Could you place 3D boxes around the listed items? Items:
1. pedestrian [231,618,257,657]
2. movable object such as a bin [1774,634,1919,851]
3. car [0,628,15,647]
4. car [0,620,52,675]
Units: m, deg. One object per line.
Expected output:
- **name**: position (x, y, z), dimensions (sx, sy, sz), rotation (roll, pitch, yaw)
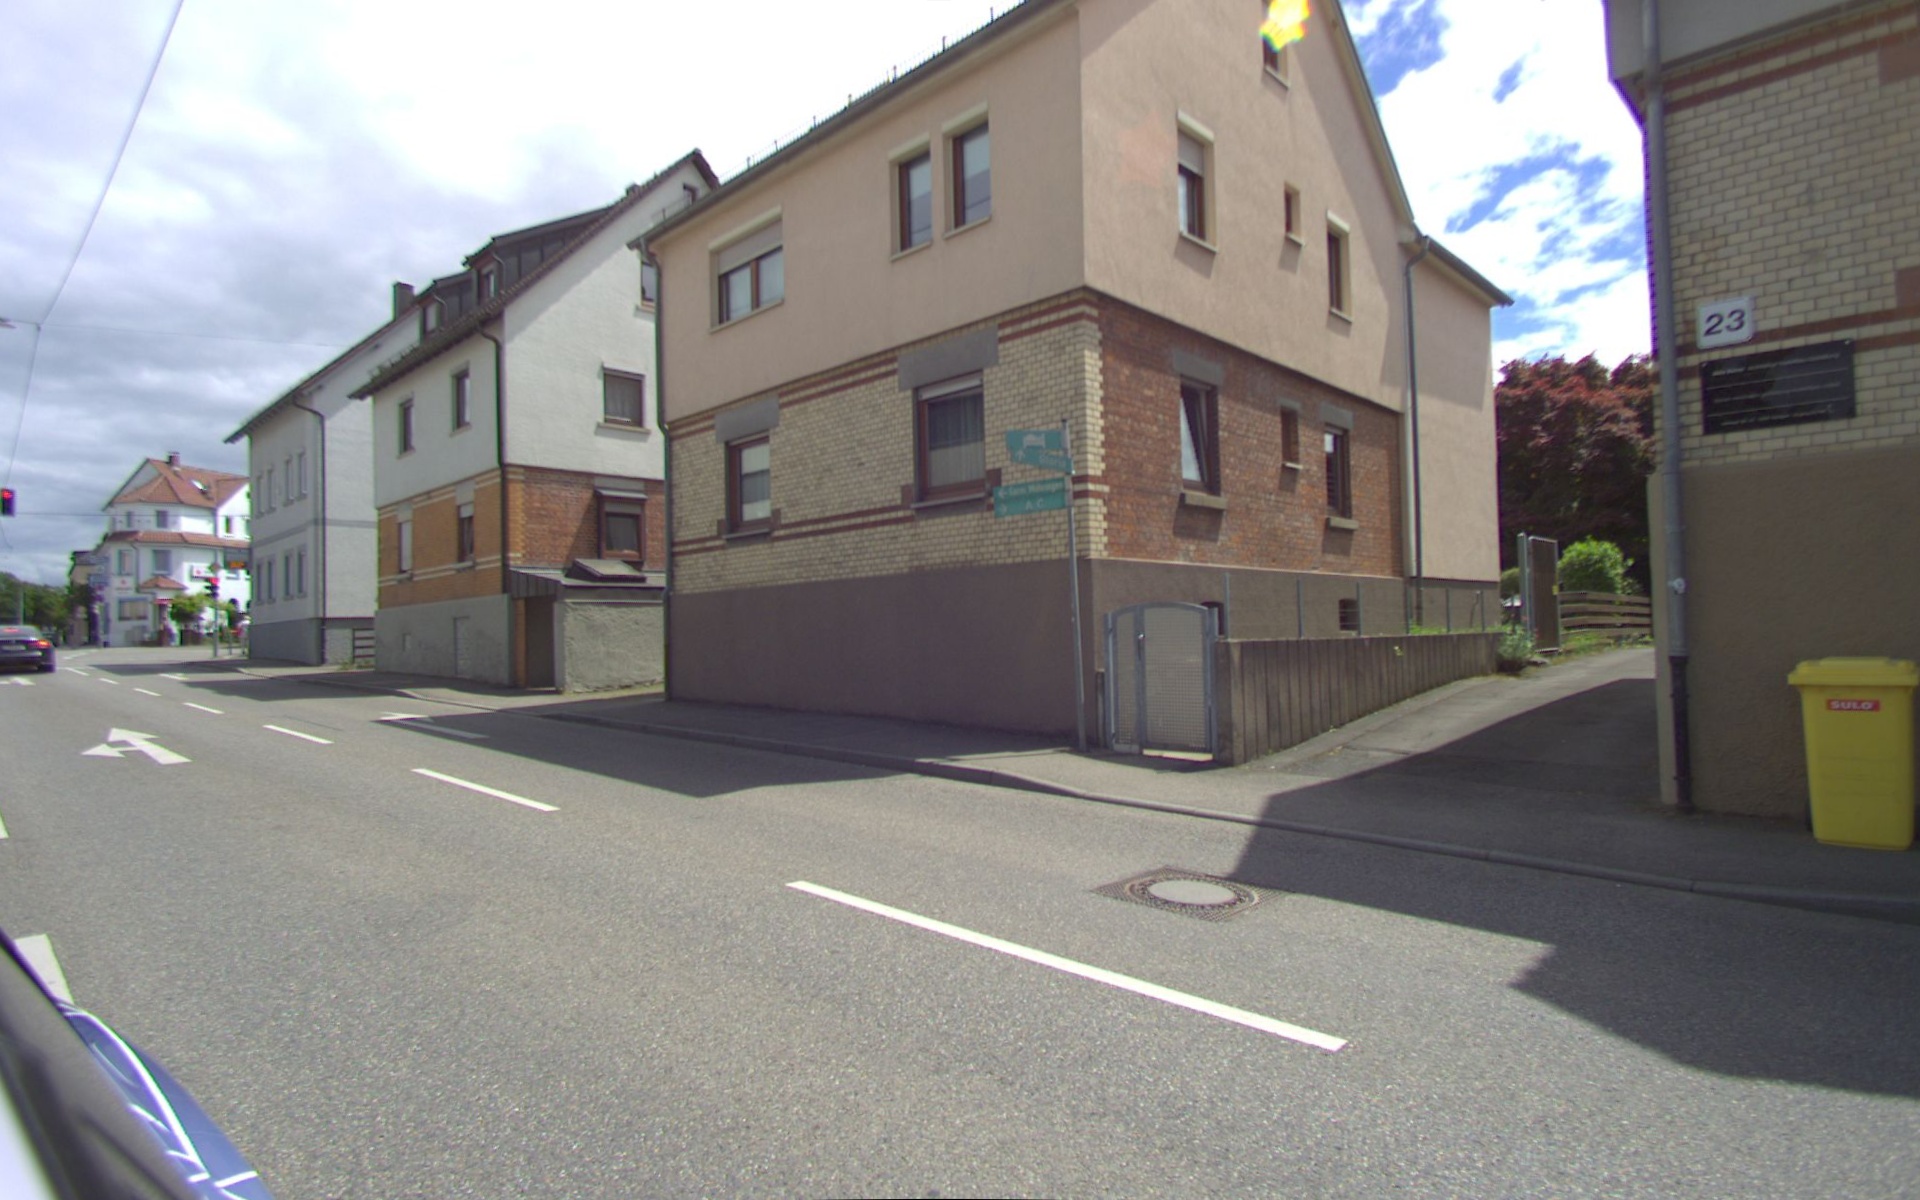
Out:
- **pedestrian**: position (-29.984, 1.558, 42.372), dimensions (0.674, 1.620, 0.583), rotation (-1, 0, 10)
- **movable object such as a bin**: position (5.335, 0.795, 5.957), dimensions (0.802, 1.170, 0.756), rotation (-2, -2, 41)
- **car**: position (-102.818, 4.004, 108.428), dimensions (3.999, 2.029, 1.972), rotation (-2, -2, 42)
- **car**: position (-28.118, 1.415, 29.805), dimensions (4.001, 1.497, 1.771), rotation (-3, -1, 44)
